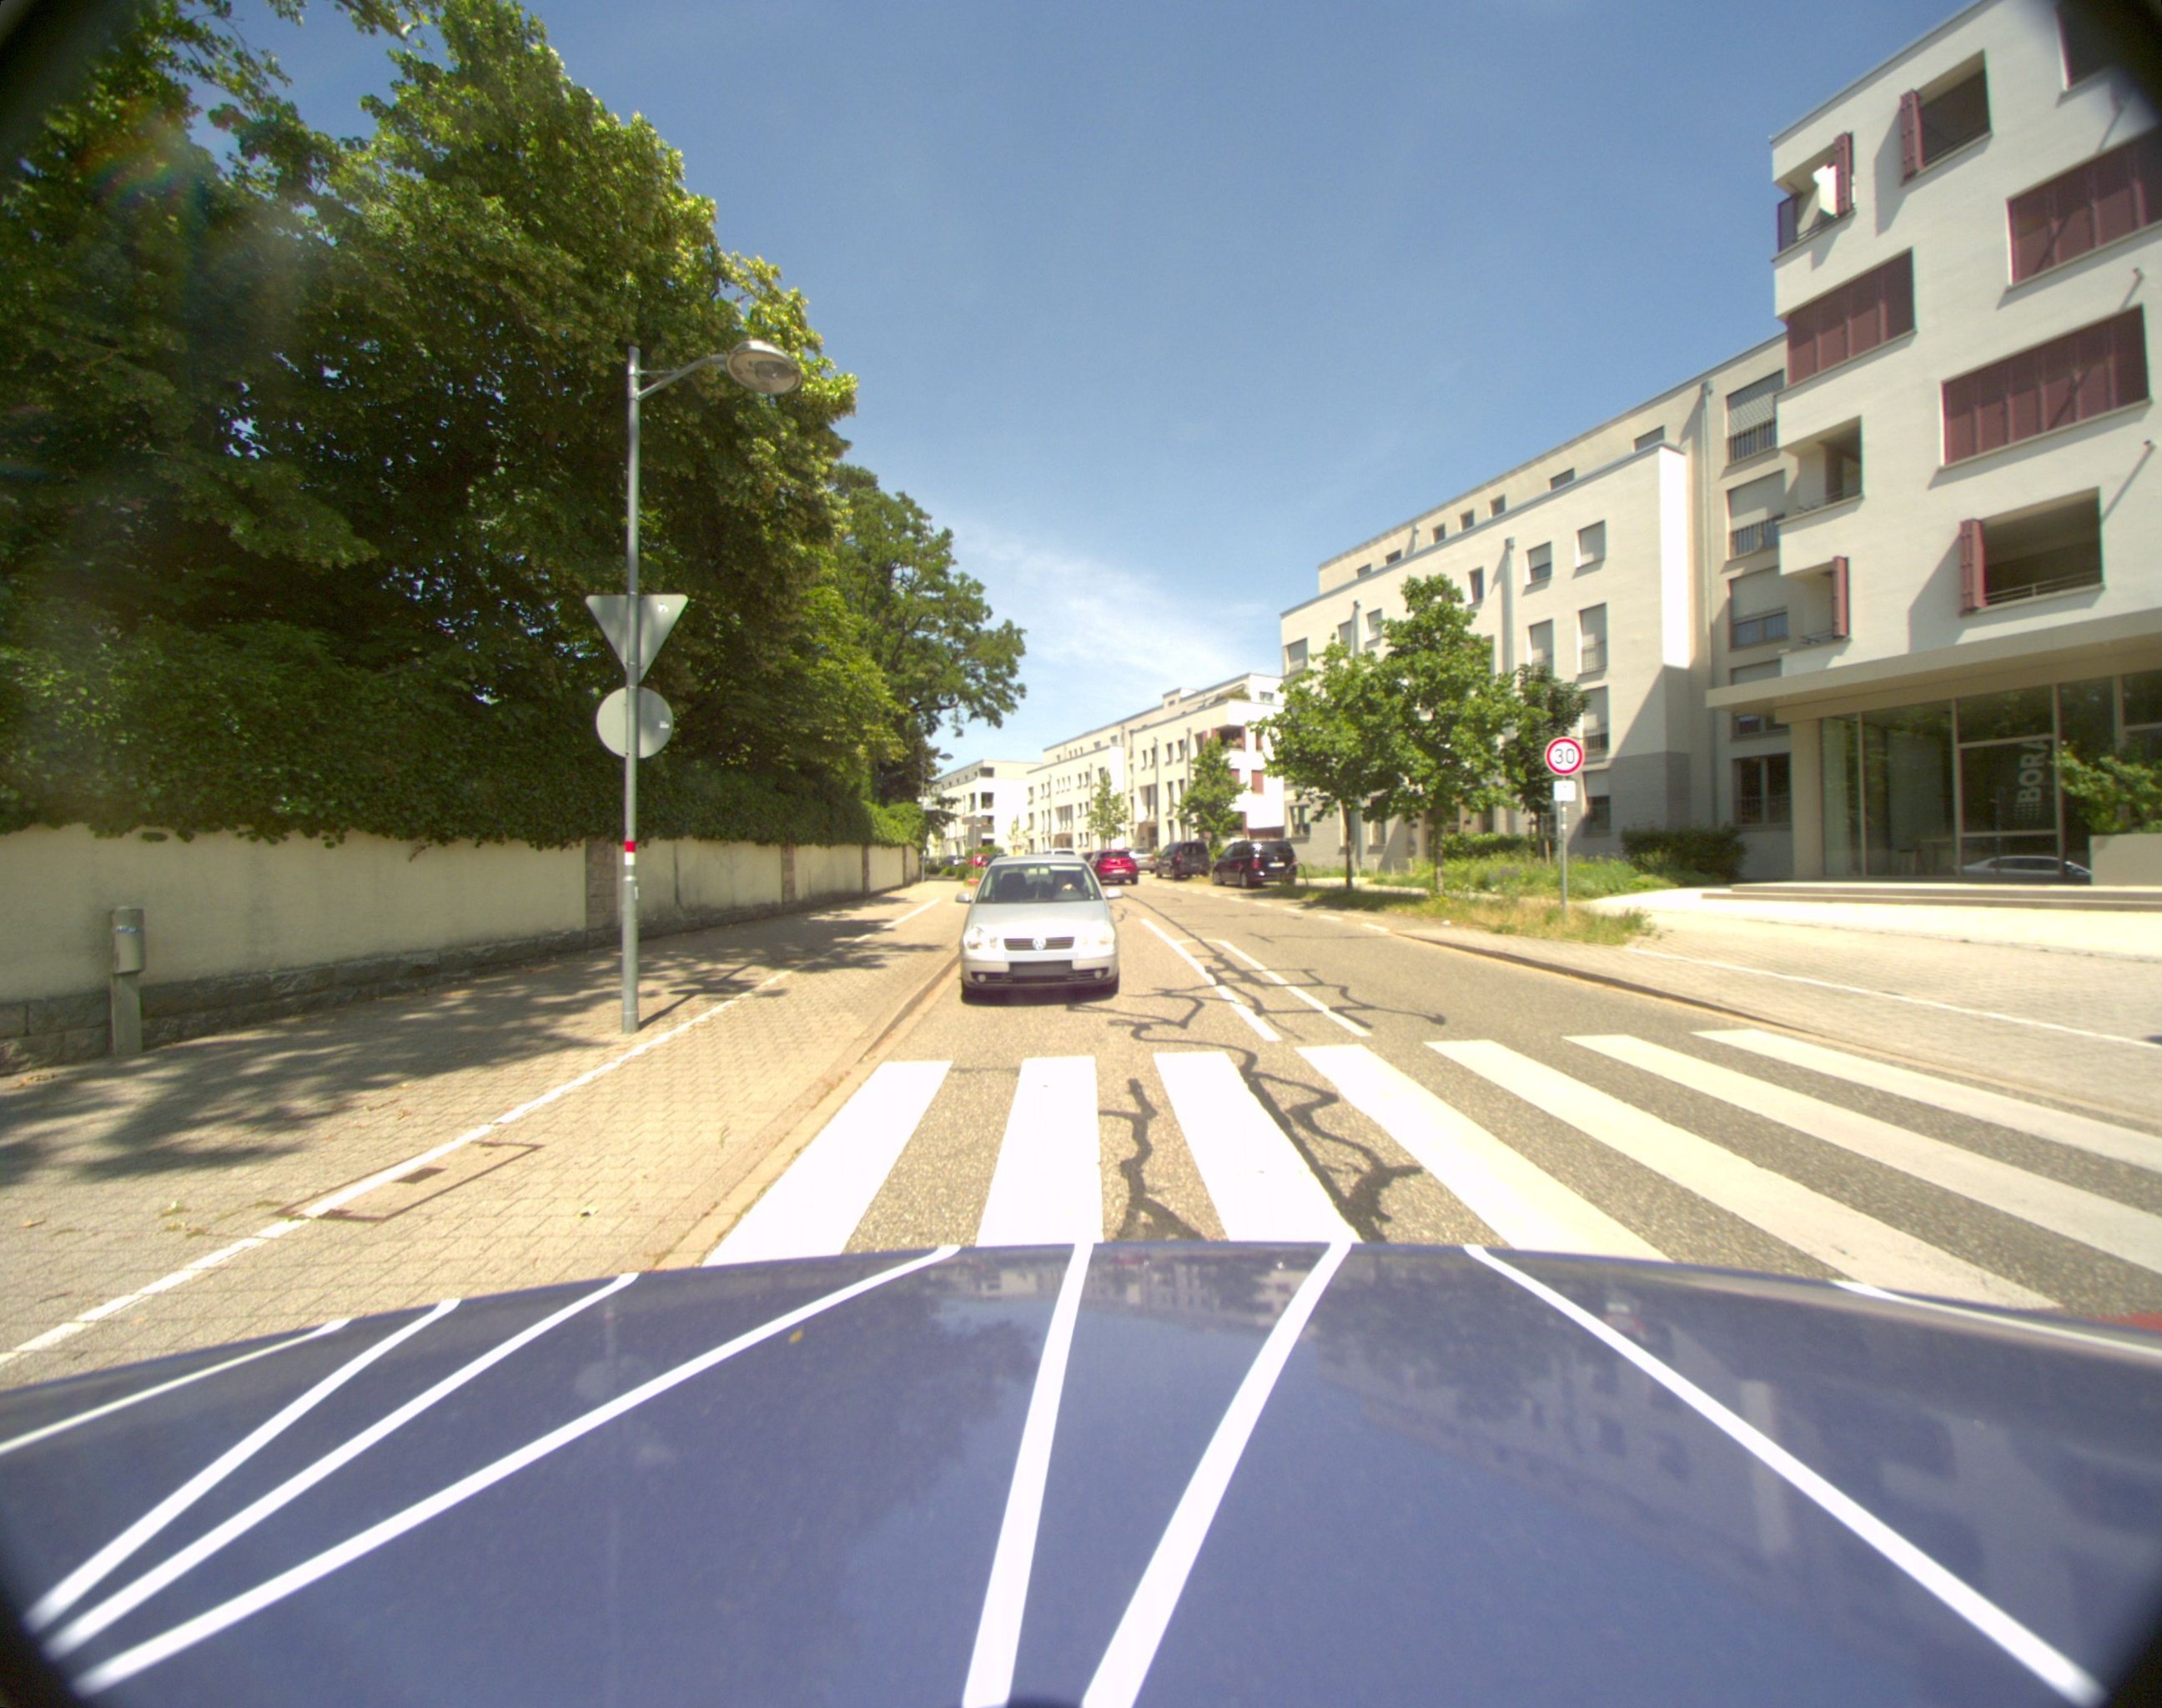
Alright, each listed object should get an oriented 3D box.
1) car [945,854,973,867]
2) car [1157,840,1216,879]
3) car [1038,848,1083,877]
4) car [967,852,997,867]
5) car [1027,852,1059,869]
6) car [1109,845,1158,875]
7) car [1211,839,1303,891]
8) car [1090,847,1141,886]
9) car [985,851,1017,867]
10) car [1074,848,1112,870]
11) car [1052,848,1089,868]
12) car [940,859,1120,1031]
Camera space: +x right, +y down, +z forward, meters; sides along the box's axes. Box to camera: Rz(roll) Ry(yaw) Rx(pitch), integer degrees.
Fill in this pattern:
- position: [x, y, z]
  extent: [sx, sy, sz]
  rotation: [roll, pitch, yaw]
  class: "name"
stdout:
- position: [-13.516, 0.725, 84.021]
  extent: [1.710, 1.405, 3.712]
  rotation: [-2, 1, -30]
  class: "car"
- position: [4.785, 0.223, 34.959]
  extent: [1.700, 1.690, 3.624]
  rotation: [-2, 1, -9]
  class: "car"
- position: [-1.247, 0.448, 44.944]
  extent: [1.817, 1.599, 4.115]
  rotation: [-2, 1, -14]
  class: "car"
- position: [-10.265, 0.537, 78.560]
  extent: [1.710, 1.405, 3.712]
  rotation: [-2, 1, -30]
  class: "car"
- position: [-3.268, 0.525, 64.739]
  extent: [1.709, 1.405, 3.714]
  rotation: [-2, 1, -21]
  class: "car"
- position: [3.014, 0.322, 44.309]
  extent: [1.792, 1.580, 3.623]
  rotation: [-2, 1, -14]
  class: "car"
- position: [5.974, 0.333, 26.323]
  extent: [1.700, 1.628, 4.017]
  rotation: [-2, 1, -9]
  class: "car"
- position: [1.394, 0.499, 32.276]
  extent: [1.755, 1.496, 3.991]
  rotation: [-2, 0, -3]
  class: "car"
- position: [-7.781, 0.481, 73.591]
  extent: [1.710, 1.405, 3.712]
  rotation: [-2, 1, -30]
  class: "car"
- position: [0.795, 0.311, 53.050]
  extent: [1.708, 1.405, 3.622]
  rotation: [-2, 1, -15]
  class: "car"
- position: [-0.845, 0.273, 58.528]
  extent: [1.708, 1.405, 3.715]
  rotation: [-2, 1, -18]
  class: "car"
- position: [-0.471, 0.845, 8.927]
  extent: [1.607, 1.443, 3.999]
  rotation: [-1, 1, 0]
  class: "car"
